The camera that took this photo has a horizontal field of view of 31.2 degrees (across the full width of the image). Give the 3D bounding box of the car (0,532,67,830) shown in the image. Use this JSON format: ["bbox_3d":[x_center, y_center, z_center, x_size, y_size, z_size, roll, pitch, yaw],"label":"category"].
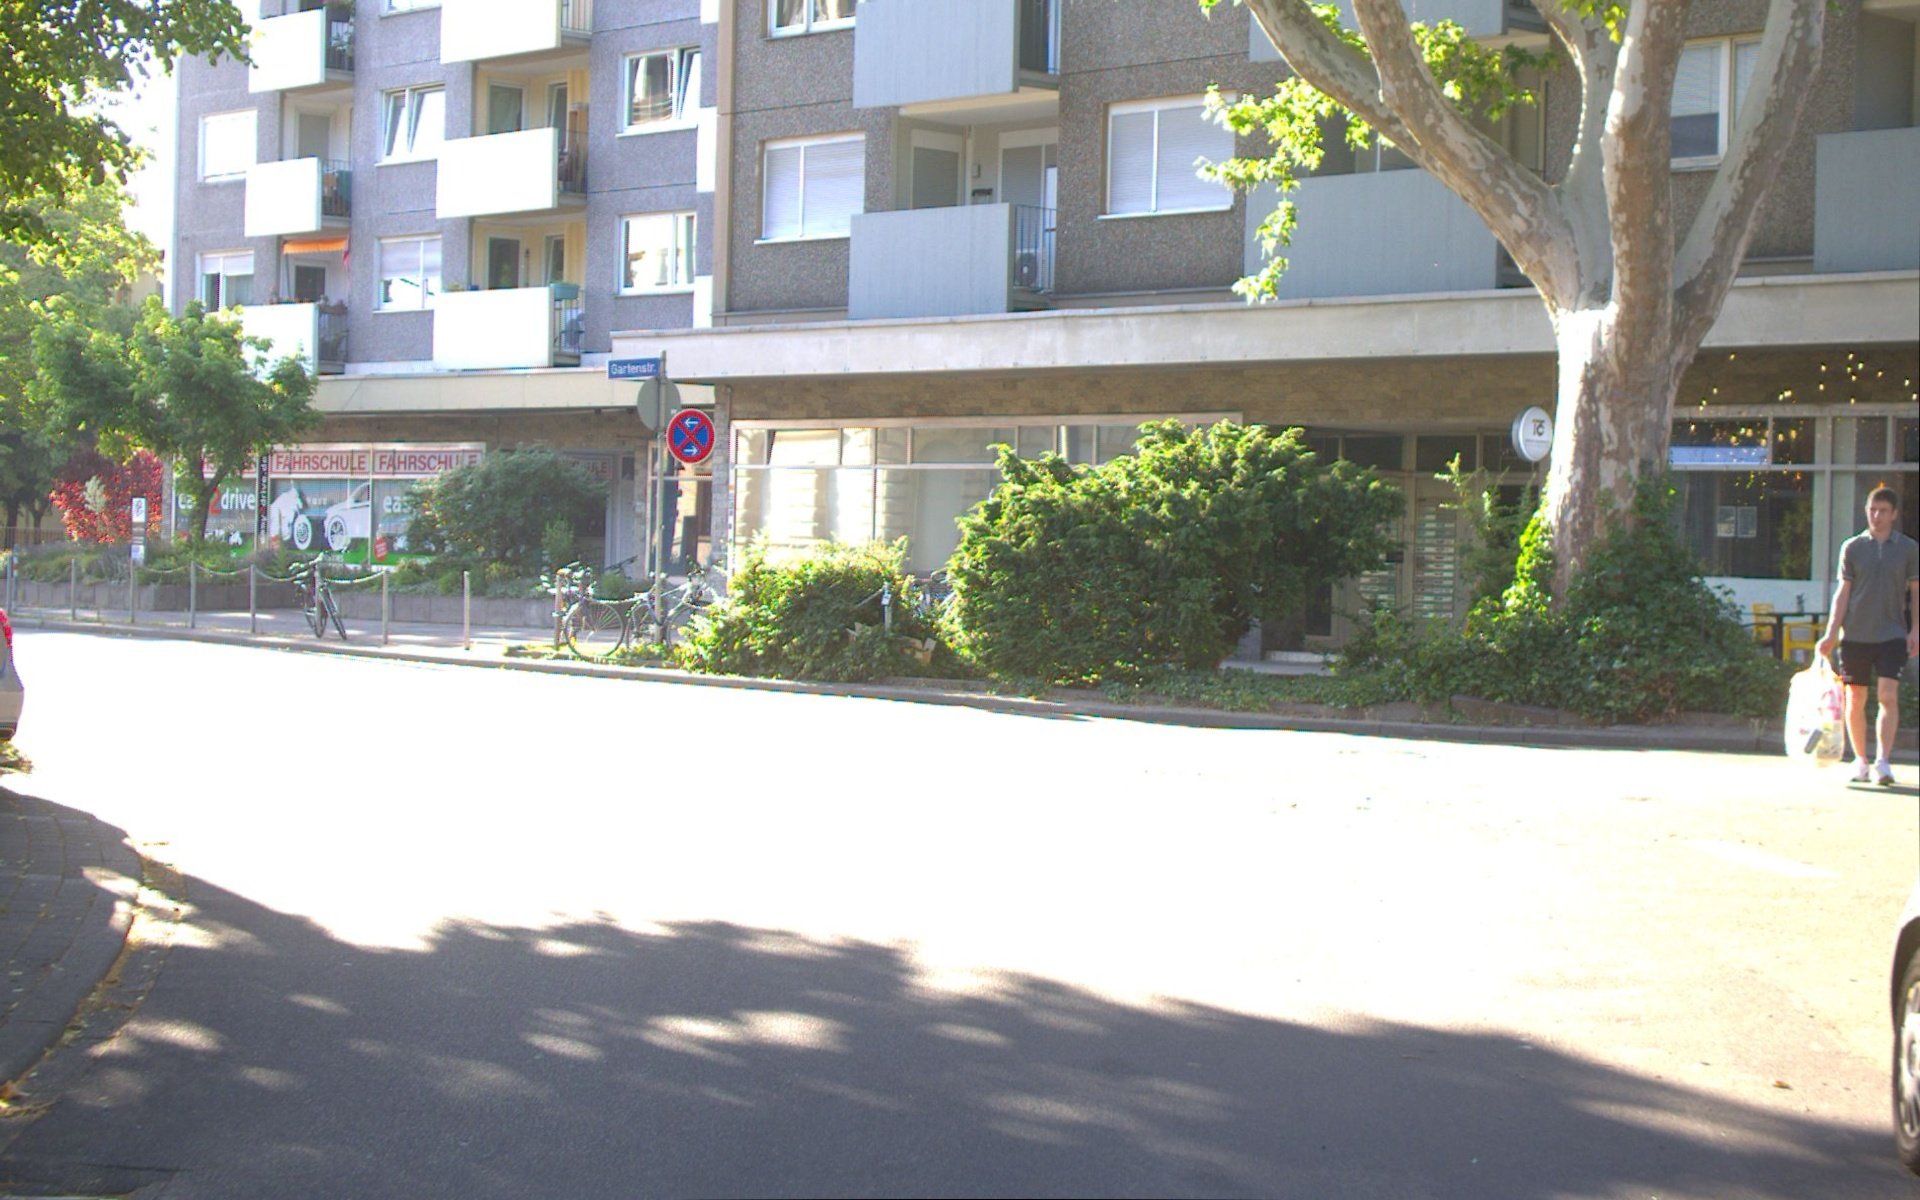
[{"bbox_3d":[-6.533,0.288,16.317,4.030,1.401,1.773,3,1,14],"label":"car"}]

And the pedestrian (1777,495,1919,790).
[{"bbox_3d":[5.526,0.250,21.190,0.812,1.775,0.716,1,1,4],"label":"pedestrian"}]

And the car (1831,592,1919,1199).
[{"bbox_3d":[3.141,0.785,7.292,1.680,1.441,3.871,4,1,3],"label":"car"}]

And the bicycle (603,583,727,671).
[{"bbox_3d":[-3.226,0.286,37.472,0.542,0.901,1.736,0,1,-35],"label":"bicycle"}]

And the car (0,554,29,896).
[{"bbox_3d":[-5.908,0.356,13.403,3.975,1.360,1.773,4,1,15],"label":"car"}]

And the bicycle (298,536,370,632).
[{"bbox_3d":[-8.351,-0.226,45.817,0.638,1.222,2.089,1,1,-19],"label":"bicycle"}]

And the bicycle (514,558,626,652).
[{"bbox_3d":[-4.499,0.047,39.540,0.638,1.019,2.089,0,1,-25],"label":"bicycle"}]

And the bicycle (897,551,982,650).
[{"bbox_3d":[-0.225,-0.003,36.848,0.348,1.034,1.052,0,1,-36],"label":"bicycle"}]

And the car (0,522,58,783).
[{"bbox_3d":[-7.373,0.185,18.962,4.283,1.424,1.773,3,1,16],"label":"car"}]
